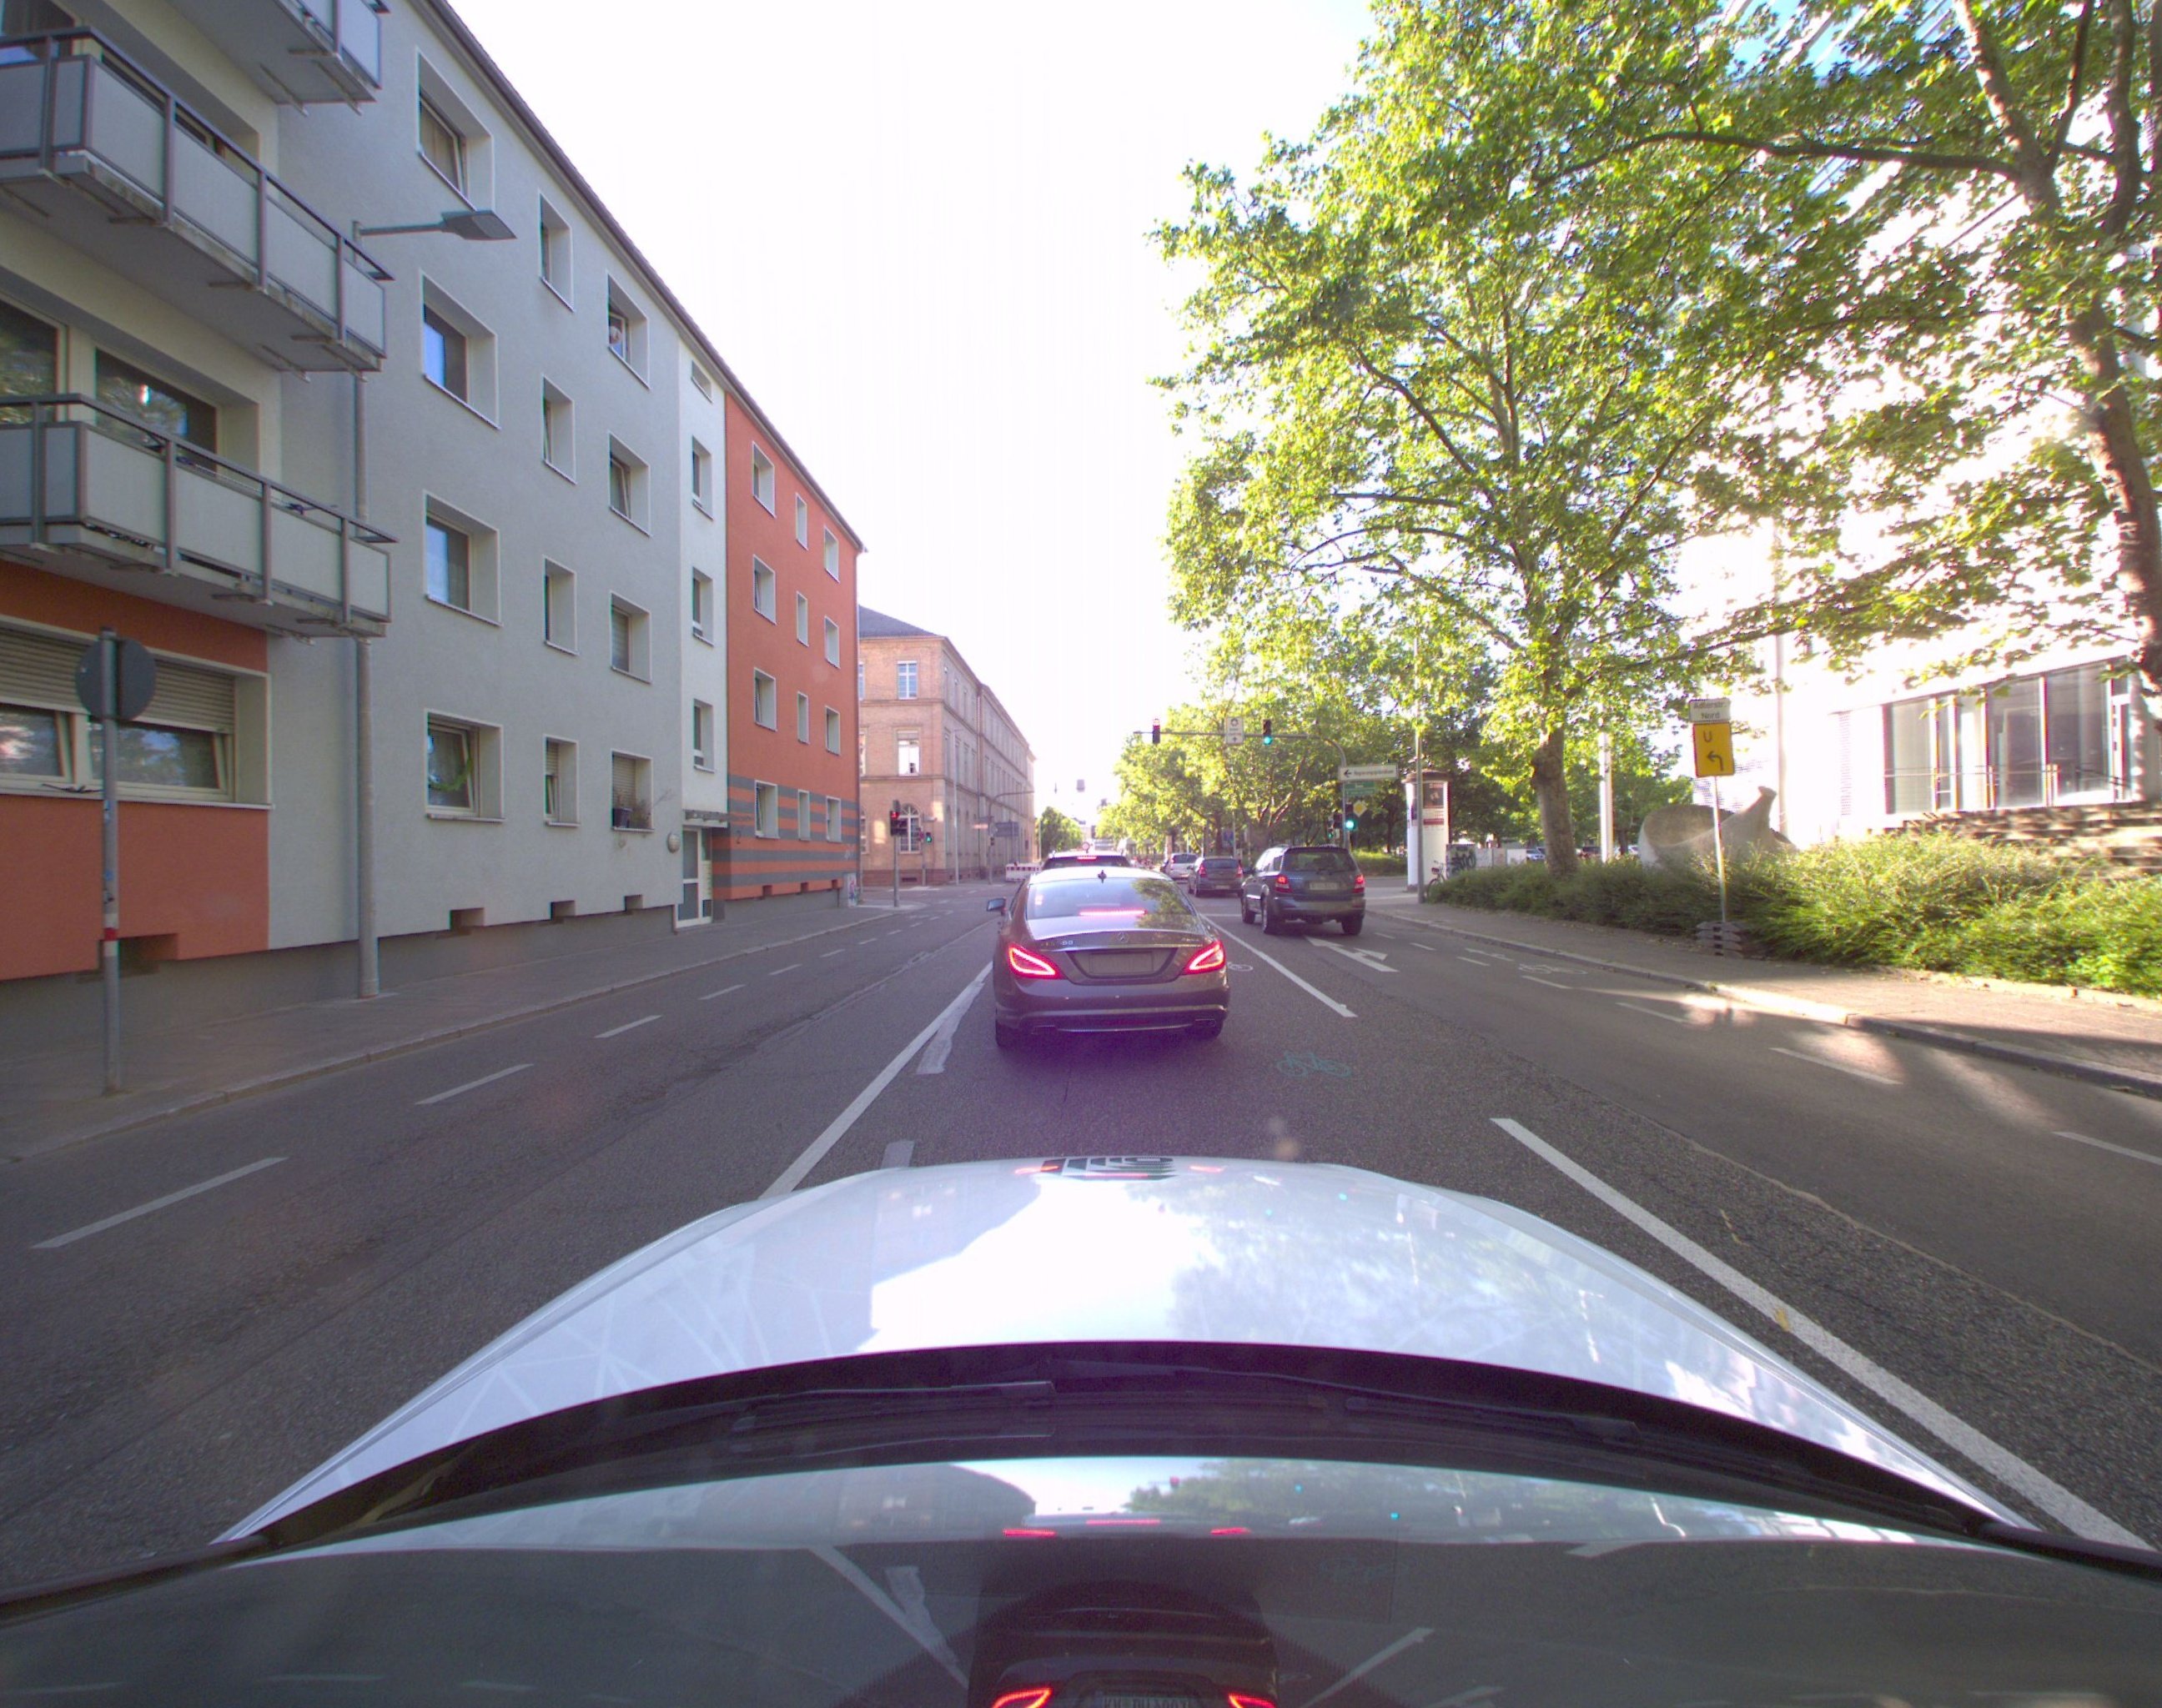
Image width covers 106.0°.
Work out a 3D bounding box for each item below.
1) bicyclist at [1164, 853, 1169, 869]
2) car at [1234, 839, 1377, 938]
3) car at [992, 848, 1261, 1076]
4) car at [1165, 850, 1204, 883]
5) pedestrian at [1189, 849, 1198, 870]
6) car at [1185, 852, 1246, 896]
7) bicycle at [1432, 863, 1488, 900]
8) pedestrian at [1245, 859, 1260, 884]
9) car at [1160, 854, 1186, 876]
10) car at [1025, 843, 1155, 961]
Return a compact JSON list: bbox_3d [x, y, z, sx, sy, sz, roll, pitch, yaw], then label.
[{"bbox_3d":[11.054,0.847,104.910,0.593,2.039,0.566,0,-1,-2],"label":"bicyclist"},{"bbox_3d":[4.479,0.629,16.973,1.854,1.764,4.483,-1,0,2],"label":"car"},{"bbox_3d":[0.146,0.736,7.607,1.859,1.519,3.992,-1,0,-6],"label":"car"},{"bbox_3d":[5.398,0.643,42.874,1.725,1.662,3.682,0,-1,2],"label":"car"},{"bbox_3d":[9.643,0.460,69.998,0.634,1.760,0.698,0,-1,-2],"label":"pedestrian"},{"bbox_3d":[4.945,0.692,30.349,1.698,1.519,4.002,-1,0,2],"label":"car"},{"bbox_3d":[10.987,0.777,23.580,1.895,1.028,0.635,0,-1,-36],"label":"bicycle"},{"bbox_3d":[10.810,1.103,51.323,0.635,1.545,0.908,0,-1,-7],"label":"pedestrian"},{"bbox_3d":[6.629,0.800,59.125,1.595,1.549,3.682,0,-1,2],"label":"car"},{"bbox_3d":[0.194,0.695,13.742,1.854,1.682,4.002,-1,0,2],"label":"car"}]
